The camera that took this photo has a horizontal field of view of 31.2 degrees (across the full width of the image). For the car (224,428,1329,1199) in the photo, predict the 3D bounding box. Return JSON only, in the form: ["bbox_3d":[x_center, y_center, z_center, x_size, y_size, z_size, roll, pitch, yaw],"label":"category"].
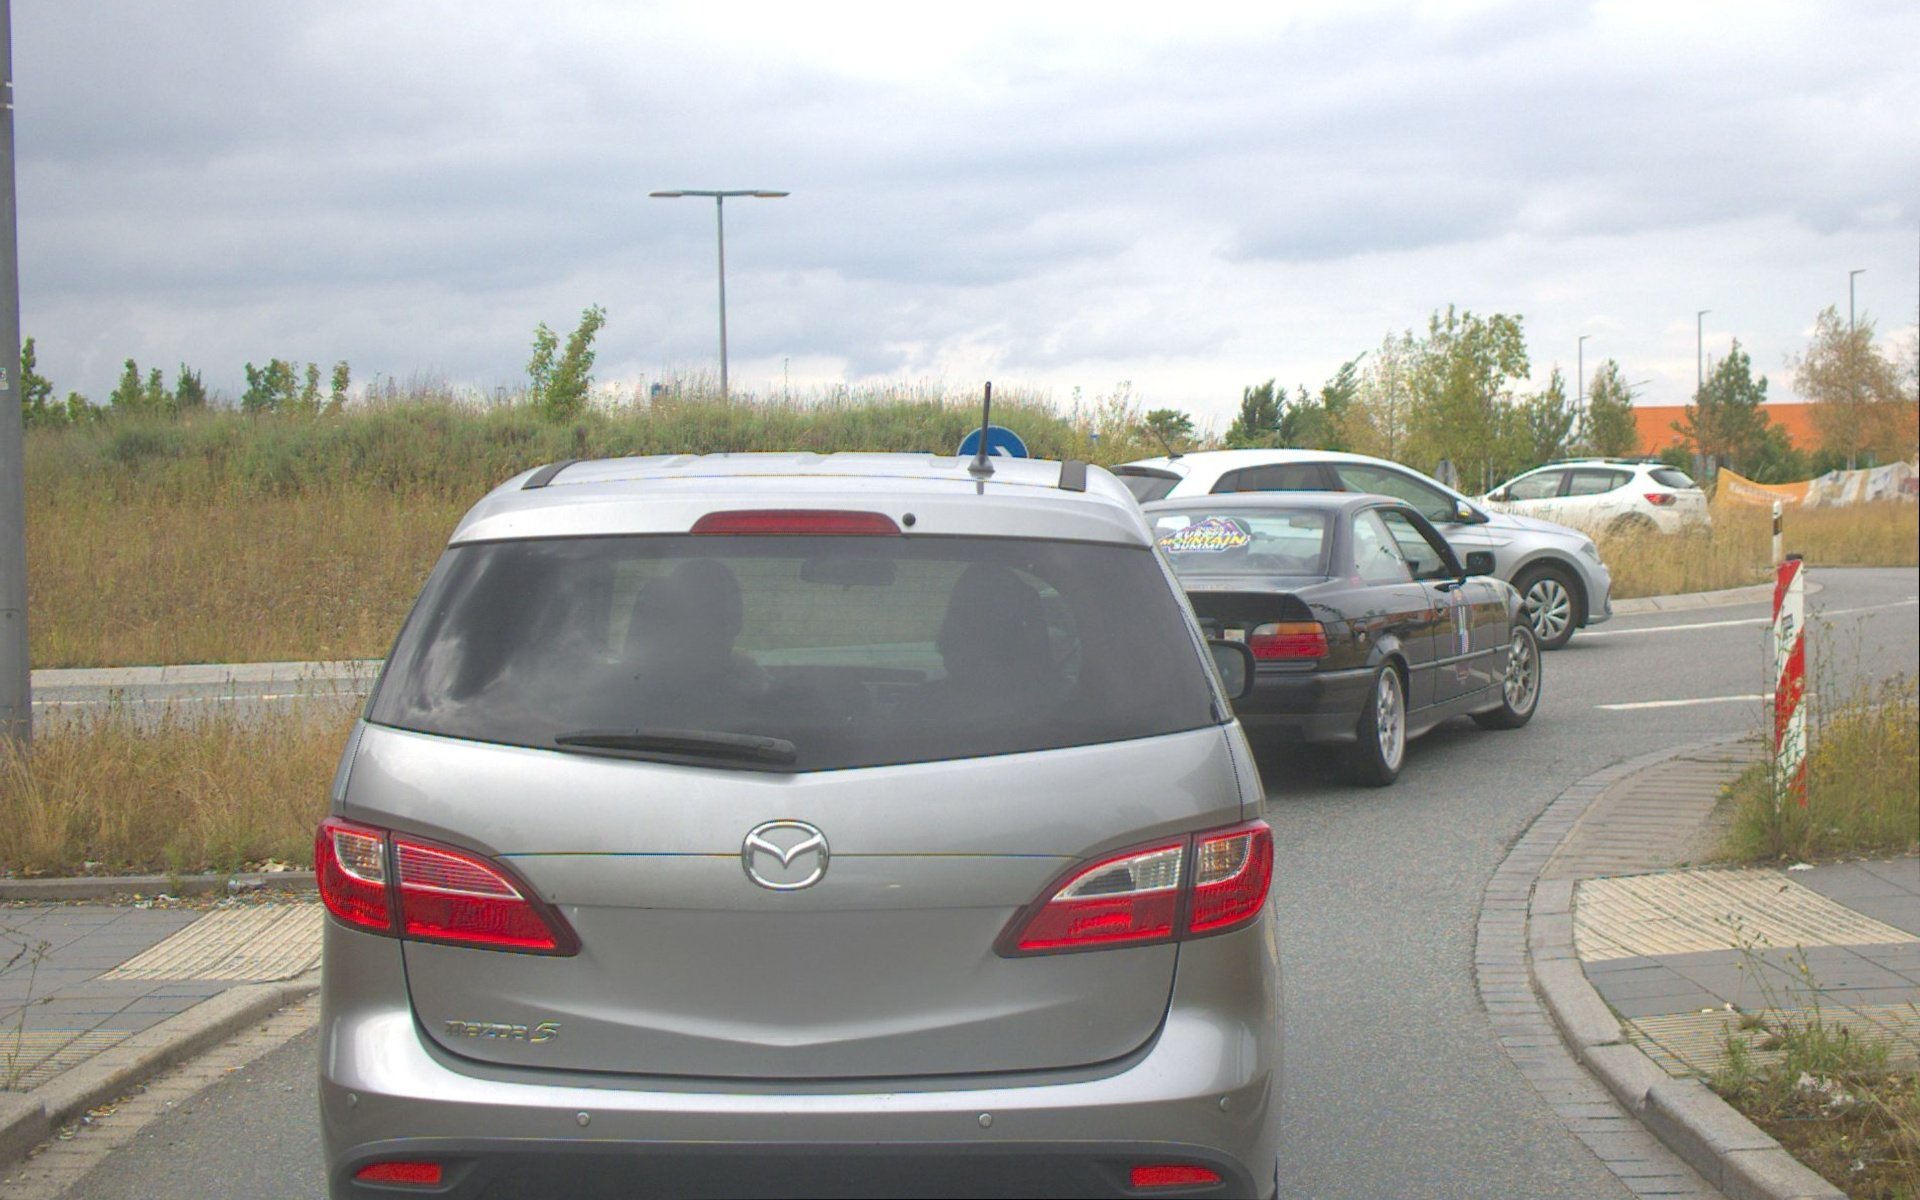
[{"bbox_3d":[-0.306,0.473,7.454,1.738,1.593,3.998,1,2,0],"label":"car"}]

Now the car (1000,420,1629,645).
[{"bbox_3d":[2.471,-0.441,24.135,3.986,1.459,1.814,1,0,-20],"label":"car"}]

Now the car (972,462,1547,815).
[{"bbox_3d":[1.606,0.082,16.991,1.740,1.398,3.994,2,4,22],"label":"car"}]

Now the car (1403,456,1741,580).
[{"bbox_3d":[8.701,-1.160,48.957,4.334,1.642,1.867,0,4,31],"label":"car"}]
